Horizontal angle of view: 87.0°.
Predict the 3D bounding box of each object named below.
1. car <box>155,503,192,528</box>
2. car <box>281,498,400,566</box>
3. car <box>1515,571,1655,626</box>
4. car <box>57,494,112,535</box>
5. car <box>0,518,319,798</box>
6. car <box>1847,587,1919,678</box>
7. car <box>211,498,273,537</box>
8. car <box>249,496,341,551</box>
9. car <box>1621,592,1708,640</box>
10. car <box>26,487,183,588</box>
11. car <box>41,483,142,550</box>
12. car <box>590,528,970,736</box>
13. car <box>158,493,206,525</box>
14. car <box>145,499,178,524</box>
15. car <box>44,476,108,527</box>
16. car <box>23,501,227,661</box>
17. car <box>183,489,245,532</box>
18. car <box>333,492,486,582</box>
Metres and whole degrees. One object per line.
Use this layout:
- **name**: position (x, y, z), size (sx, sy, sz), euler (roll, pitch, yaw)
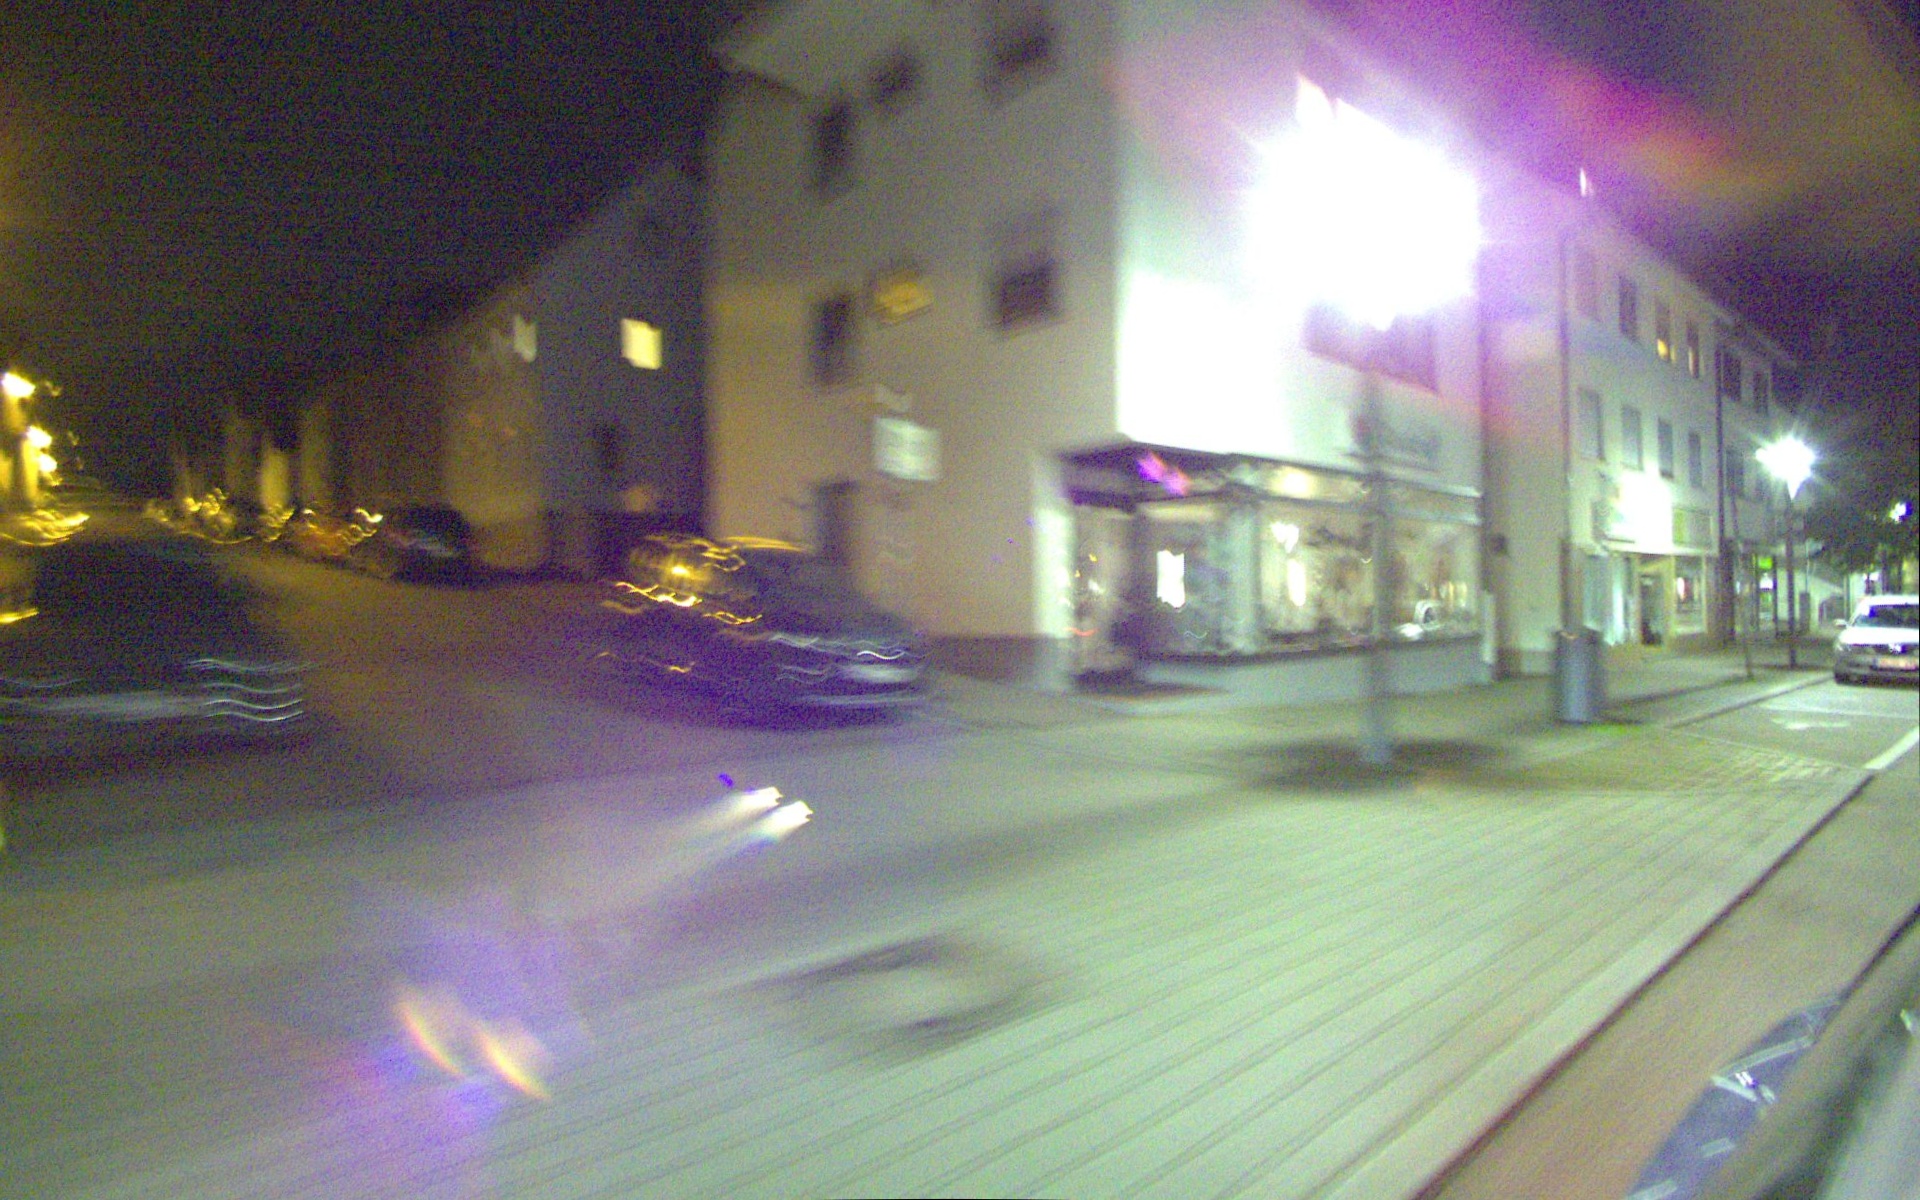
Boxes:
- **car**: position (-56.009, -6.026, 72.056), size (1.719, 1.566, 4.054), euler (1, 4, -43)
- **car**: position (-15.755, -1.757, 25.657), size (1.751, 1.499, 3.988), euler (1, 4, -43)
- **car**: position (27.799, -0.147, 45.145), size (1.902, 1.888, 4.856), euler (-2, 8, -42)
- **car**: position (-42.030, -4.116, 48.567), size (1.848, 1.792, 4.320), euler (-2, 7, -42)
- **car**: position (-6.060, 0.186, 7.345), size (1.722, 1.494, 3.994), euler (-1, 4, -42)
- **car**: position (16.795, 0.509, 17.613), size (3.613, 1.478, 1.676), euler (-1, 0, -43)
- **car**: position (-29.945, -3.457, 42.169), size (1.710, 1.401, 3.959), euler (1, 4, -41)
- **car**: position (-21.138, -2.452, 32.112), size (1.719, 1.499, 4.054), euler (1, 4, -43)
- **car**: position (26.758, 0.573, 38.402), size (3.989, 1.477, 1.808), euler (-3, 6, -43)
- **car**: position (-14.893, -1.141, 17.568), size (1.884, 1.493, 3.995), euler (-2, 7, -42)
- **car**: position (-22.762, -2.203, 26.470), size (1.848, 1.566, 3.995), euler (-2, 7, -42)
- **car**: position (-1.986, 0.165, 10.221), size (1.786, 1.600, 4.082), euler (1, 3, -43)
- **car**: position (-42.416, -4.981, 55.134), size (1.646, 1.566, 4.054), euler (1, 4, -43)
- **car**: position (-68.142, -7.554, 86.342), size (1.864, 1.969, 4.054), euler (1, 4, -43)
- **car**: position (-36.258, -4.062, 41.485), size (1.848, 1.888, 4.472), euler (-2, 7, -42)
- **car**: position (-10.031, -0.360, 12.071), size (1.618, 1.493, 4.057), euler (-2, 7, -42)
- **car**: position (-33.488, -4.028, 45.405), size (1.748, 1.700, 4.054), euler (1, 4, -43)
- **car**: position (-11.860, -1.378, 21.692), size (1.864, 1.667, 4.054), euler (1, 4, -43)
